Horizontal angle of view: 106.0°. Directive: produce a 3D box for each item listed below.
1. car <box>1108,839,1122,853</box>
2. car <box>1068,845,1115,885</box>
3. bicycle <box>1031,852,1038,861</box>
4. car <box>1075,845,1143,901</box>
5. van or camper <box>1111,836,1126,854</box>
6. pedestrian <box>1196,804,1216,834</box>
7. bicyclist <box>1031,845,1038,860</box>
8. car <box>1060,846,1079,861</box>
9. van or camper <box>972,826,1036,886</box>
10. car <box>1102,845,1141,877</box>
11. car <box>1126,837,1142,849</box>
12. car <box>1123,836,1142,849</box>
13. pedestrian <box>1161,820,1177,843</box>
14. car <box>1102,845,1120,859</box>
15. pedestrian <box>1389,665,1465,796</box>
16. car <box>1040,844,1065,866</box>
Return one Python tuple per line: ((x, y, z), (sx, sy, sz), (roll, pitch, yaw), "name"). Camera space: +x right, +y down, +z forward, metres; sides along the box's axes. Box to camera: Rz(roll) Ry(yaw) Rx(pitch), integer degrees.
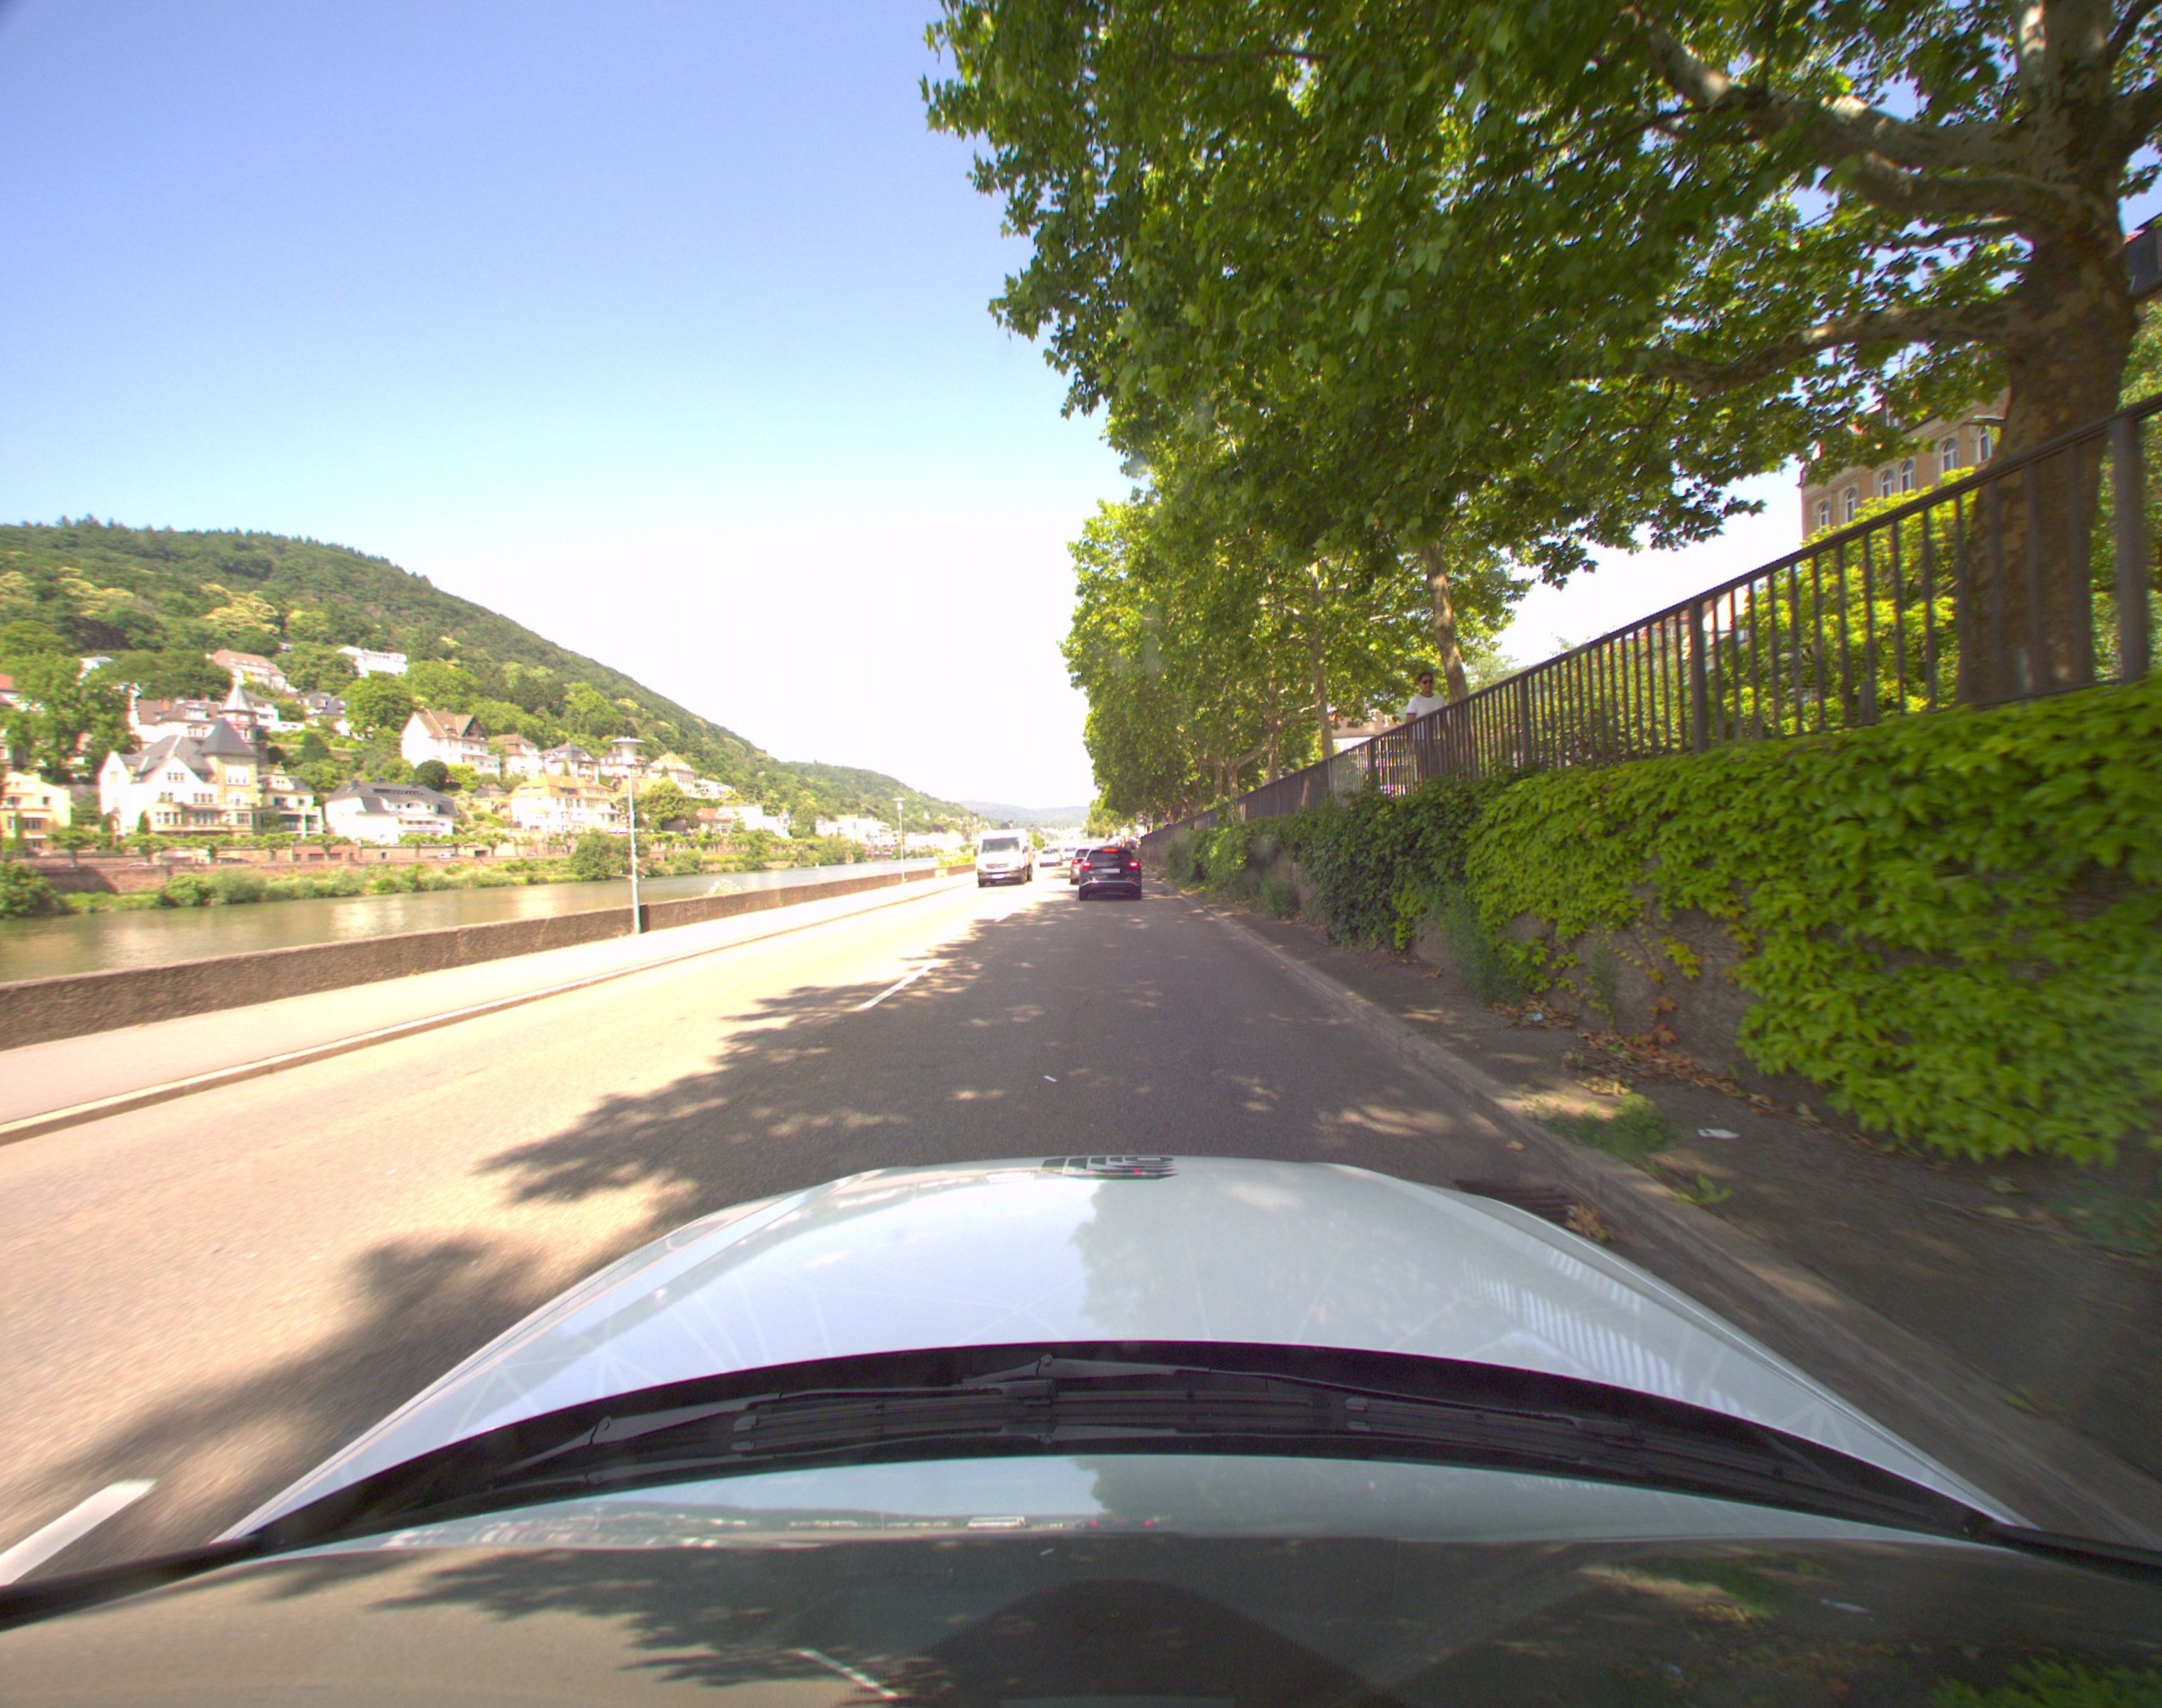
((5.248, -1.267, 125.032), (1.986, 2.169, 4.001), (-1, 1, 1), "car")
((0.471, 0.408, 33.960), (1.822, 1.511, 4.001), (-1, 1, 1), "car")
((-5.423, 0.279, 94.974), (0.630, 1.012, 1.986), (-3, 0, 1), "bicycle")
((0.823, 0.500, 24.280), (1.822, 1.486, 4.001), (-1, 1, 1), "car")
((6.239, -1.546, 136.631), (2.300, 2.847, 4.250), (-3, 0, 3), "van or camper")
((6.217, -1.732, 40.403), (0.751, 1.365, 0.814), (-5, 0, 0), "pedestrian")
((-5.451, -0.215, 94.879), (0.635, 1.673, 0.871), (-3, 0, 1), "bicyclist")
((-1.183, -0.072, 86.959), (1.725, 1.441, 4.047), (-4, 0, 1), "car")
((-3.346, 0.066, 36.546), (2.069, 2.398, 5.387), (-3, 0, 2), "van or camper")
((1.997, 0.298, 40.898), (1.822, 1.486, 4.001), (-1, 1, 1), "car")
((10.333, -2.096, 158.093), (2.652, 2.013, 5.826), (-5, 1, 1), "car")
((9.353, -2.103, 147.771), (3.087, 2.013, 5.826), (-5, 1, 1), "car")
((6.561, -1.661, 60.568), (0.933, 1.579, 1.028), (-5, 0, 0), "pedestrian")
((3.230, -0.258, 88.653), (1.822, 1.444, 4.001), (-1, 1, 1), "car")
((4.507, -1.587, 10.655), (0.662, 1.591, 0.651), (-3, 0, 1), "pedestrian")
((-2.327, 0.074, 67.037), (1.725, 1.650, 4.178), (-4, 0, 1), "car")
